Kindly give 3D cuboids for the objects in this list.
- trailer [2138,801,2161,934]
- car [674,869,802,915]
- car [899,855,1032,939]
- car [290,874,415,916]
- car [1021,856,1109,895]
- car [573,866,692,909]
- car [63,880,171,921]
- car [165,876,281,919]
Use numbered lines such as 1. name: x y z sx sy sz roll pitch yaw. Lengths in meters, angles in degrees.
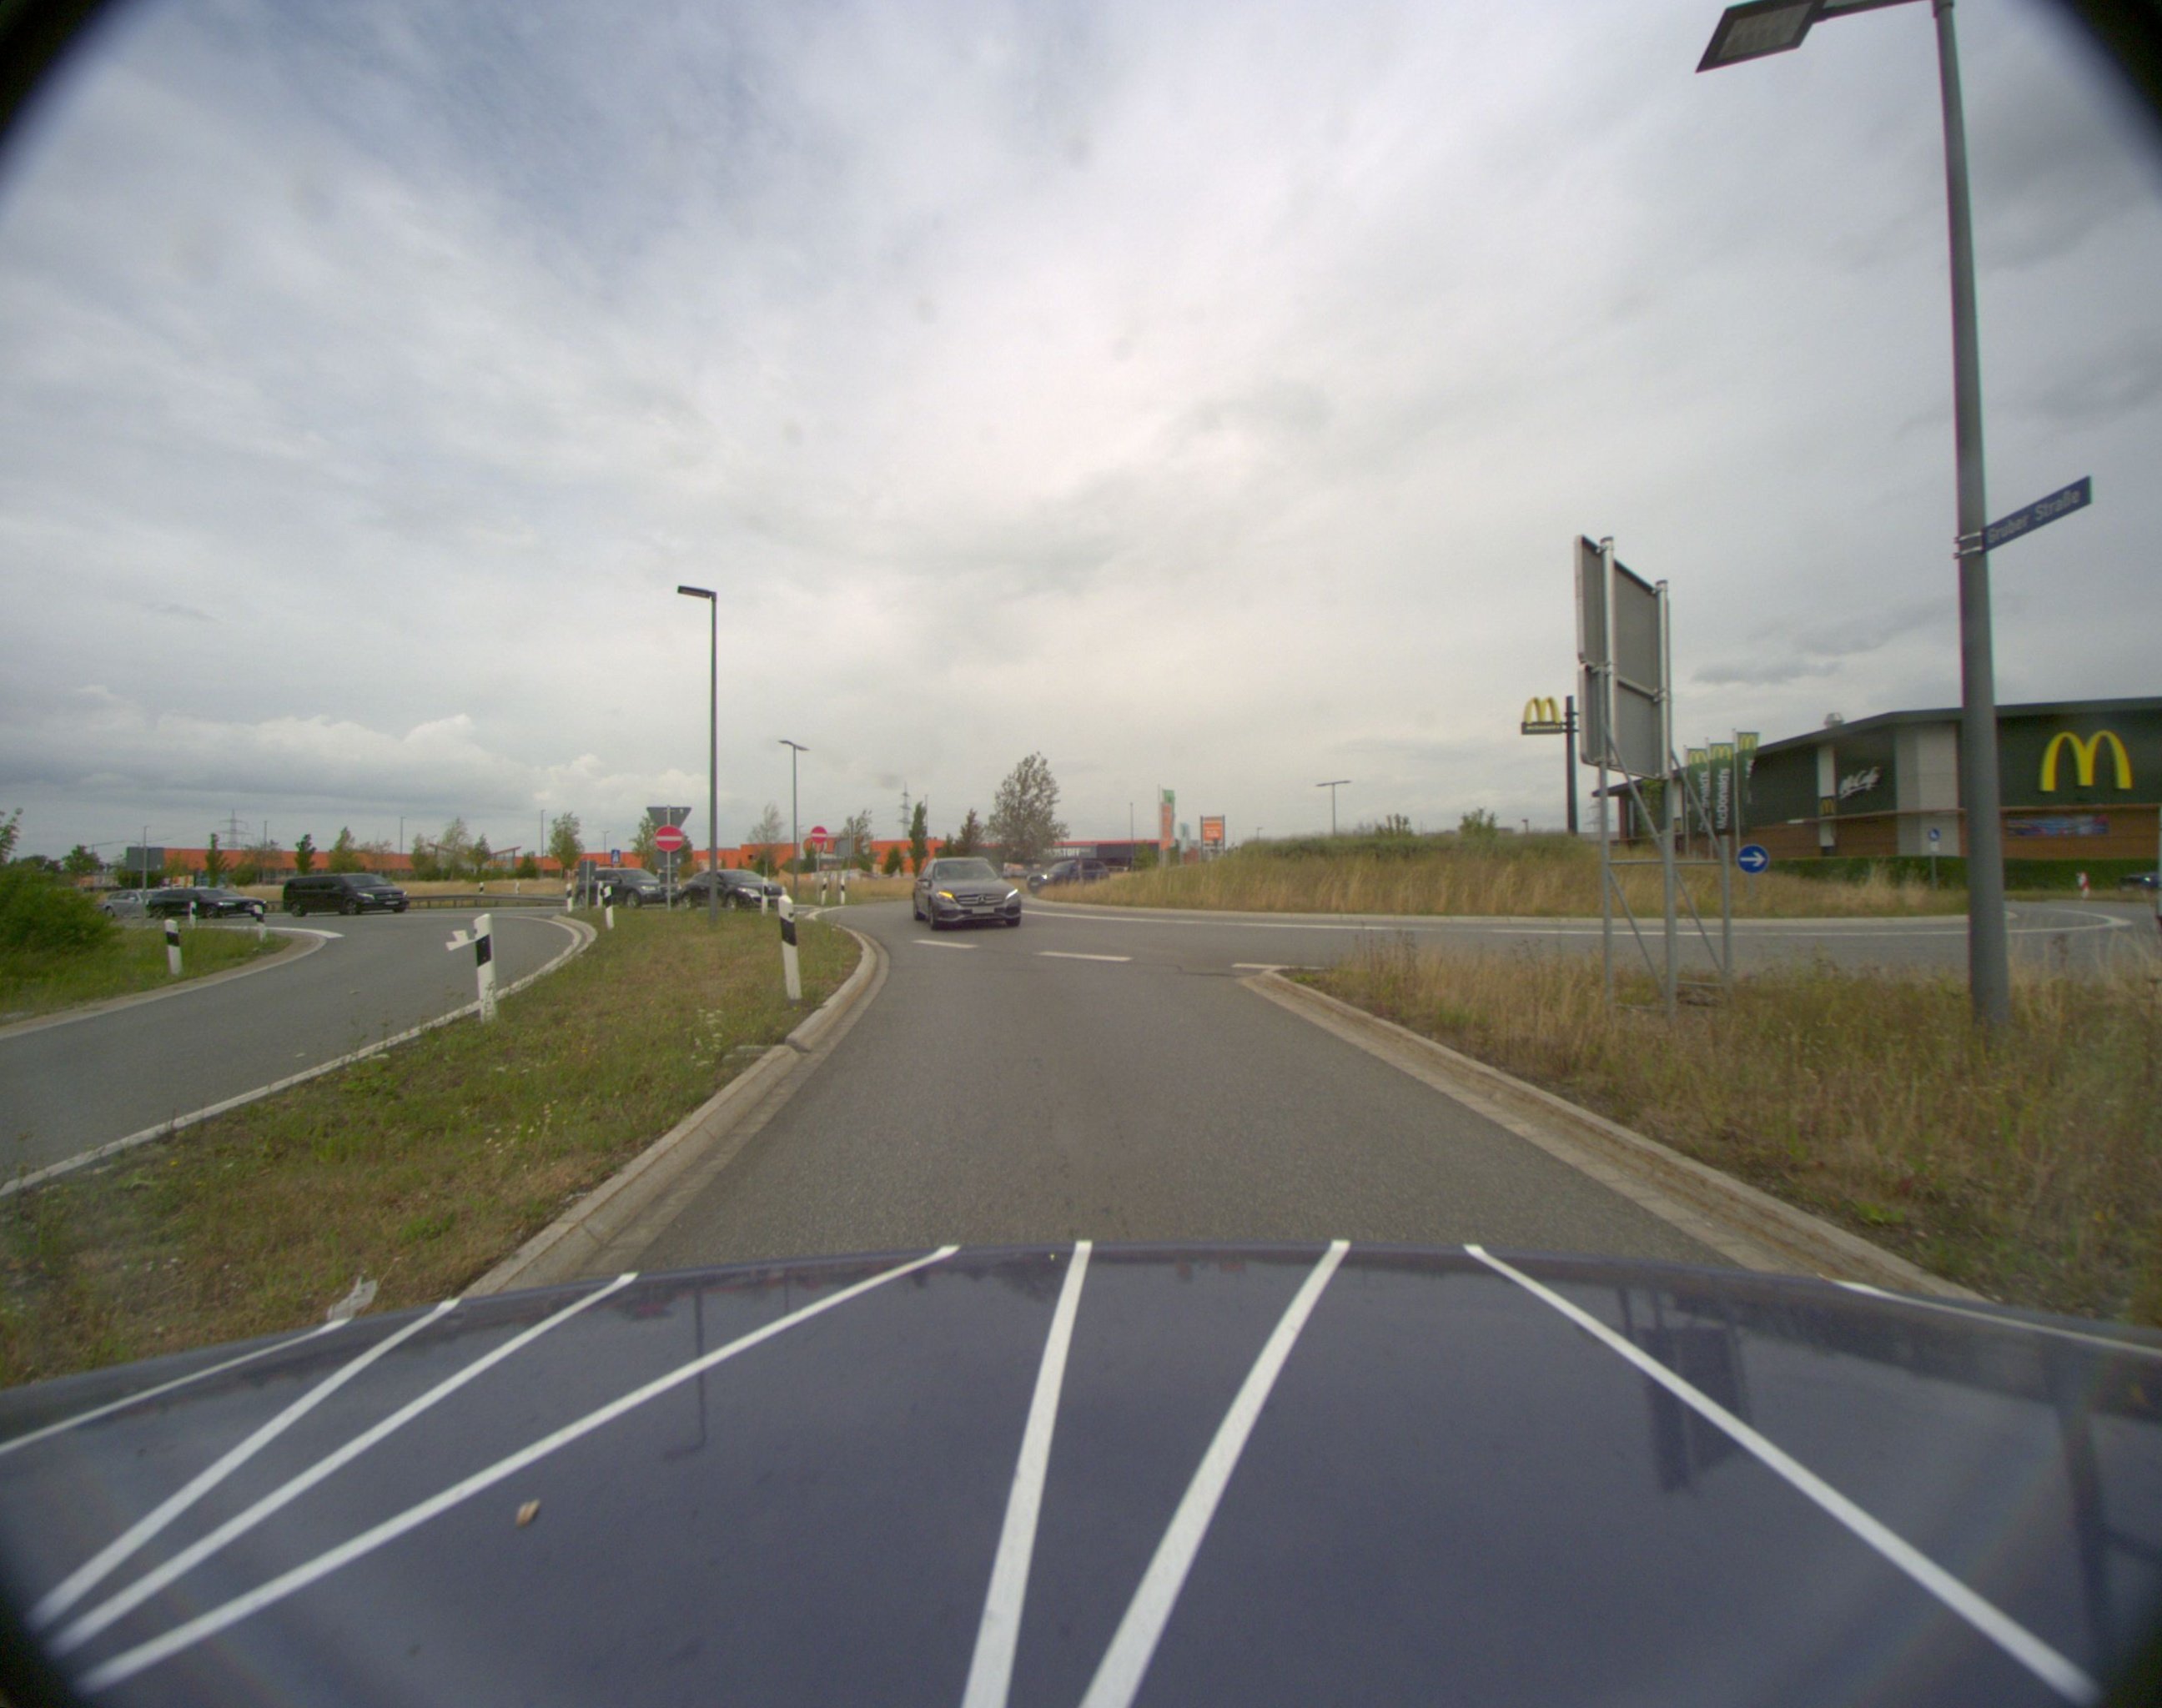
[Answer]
1. trailer: 19.123 0.209 12.177 4.151 2.079 1.809 0 0 -25
2. car: -11.411 1.235 25.221 4.134 1.362 1.847 -2 0 32
3. car: -2.676 0.821 16.698 1.909 1.488 4.330 -2 1 -22
4. car: -32.445 1.819 33.847 4.737 1.711 1.724 -2 0 14
5. car: -0.742 1.047 37.777 4.008 1.708 1.840 -2 -3 -40
6. car: -17.856 1.339 30.268 4.266 1.573 1.887 -2 0 24
7. car: -47.981 2.308 37.851 3.993 1.871 1.808 -2 0 14
8. car: -40.748 2.047 36.119 3.994 1.871 1.808 -2 0 11
